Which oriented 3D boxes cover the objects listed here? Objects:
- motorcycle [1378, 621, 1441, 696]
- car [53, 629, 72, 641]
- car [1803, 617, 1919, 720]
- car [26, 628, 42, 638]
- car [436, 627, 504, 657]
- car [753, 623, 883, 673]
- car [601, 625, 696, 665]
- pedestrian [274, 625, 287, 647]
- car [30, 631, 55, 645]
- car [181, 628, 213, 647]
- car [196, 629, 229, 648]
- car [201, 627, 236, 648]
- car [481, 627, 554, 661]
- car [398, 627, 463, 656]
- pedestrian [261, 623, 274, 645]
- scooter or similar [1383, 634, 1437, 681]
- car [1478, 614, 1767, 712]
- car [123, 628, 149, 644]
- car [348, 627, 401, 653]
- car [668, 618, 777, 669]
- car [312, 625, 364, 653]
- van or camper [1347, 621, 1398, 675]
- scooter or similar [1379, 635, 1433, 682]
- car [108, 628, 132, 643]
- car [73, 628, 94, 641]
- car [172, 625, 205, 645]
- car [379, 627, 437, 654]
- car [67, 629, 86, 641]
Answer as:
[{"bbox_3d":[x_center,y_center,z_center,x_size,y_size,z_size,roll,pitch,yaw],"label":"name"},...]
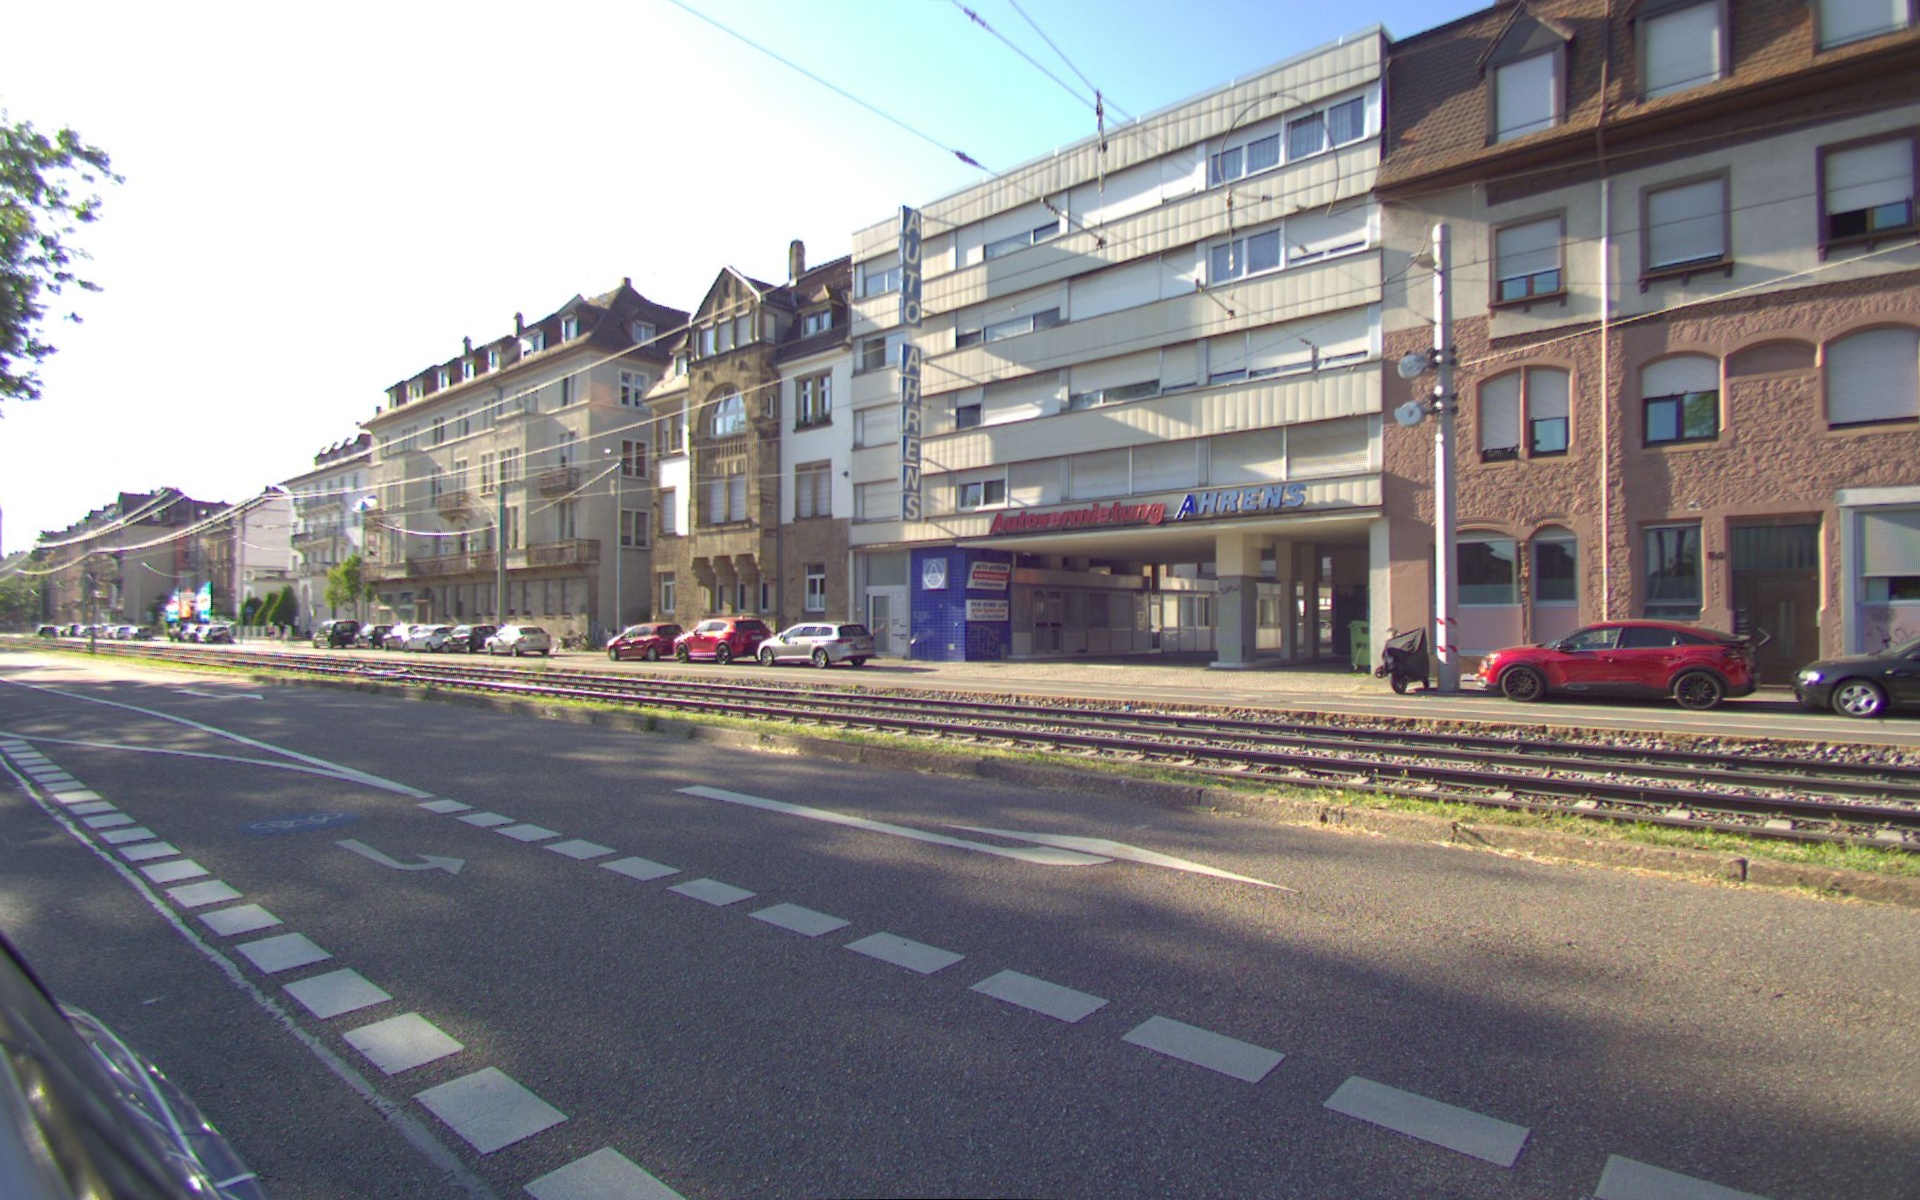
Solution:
[{"bbox_3d":[9.355,1.190,21.032,0.628,1.433,1.835,-3,-1,42],"label":"motorcycle"},{"bbox_3d":[-125.930,4.912,142.055,3.449,1.602,1.603,-1,-1,42],"label":"car"},{"bbox_3d":[15.285,1.016,15.242,3.926,1.448,1.678,-2,1,41],"label":"car"},{"bbox_3d":[-153.516,5.424,167.737,3.449,1.602,1.603,-1,-1,42],"label":"car"},{"bbox_3d":[-25.303,2.156,52.223,3.820,1.441,1.779,-2,-1,40],"label":"car"},{"bbox_3d":[-4.782,1.569,33.647,4.379,1.510,1.837,-2,0,41],"label":"car"},{"bbox_3d":[-12.542,1.797,40.683,3.722,1.507,1.736,-2,0,36],"label":"car"},{"bbox_3d":[-56.582,3.013,84.236,0.677,1.803,0.716,-2,-3,41],"label":"pedestrian"},{"bbox_3d":[-110.262,4.536,121.639,3.999,1.697,1.798,-2,-2,42],"label":"car"},{"bbox_3d":[-67.924,3.341,90.067,3.387,1.583,1.662,-1,-1,42],"label":"car"},{"bbox_3d":[-64.387,3.277,87.163,3.387,1.583,1.662,-1,-1,42],"label":"car"},{"bbox_3d":[-60.842,3.073,82.977,3.407,1.644,1.655,-2,-1,42],"label":"car"},{"bbox_3d":[-21.317,2.096,48.686,3.822,1.490,1.778,-2,-1,42],"label":"car"},{"bbox_3d":[-28.630,2.243,54.707,3.531,1.457,1.624,-2,-1,35],"label":"car"},{"bbox_3d":[-57.202,2.842,83.643,0.677,1.803,0.716,-2,-3,41],"label":"pedestrian"},{"bbox_3d":[10.637,1.351,23.939,1.121,1.077,0.202,-2,-1,42],"label":"scooter or similar"},{"bbox_3d":[12.019,1.077,18.514,4.208,1.510,1.837,-2,1,41],"label":"car"},{"bbox_3d":[-87.513,3.835,107.483,3.449,1.602,1.603,-1,-1,42],"label":"car"},{"bbox_3d":[-36.236,2.472,62.584,3.822,1.490,1.778,-2,-1,42],"label":"car"},{"bbox_3d":[-8.783,1.577,37.250,4.262,1.700,1.836,-2,0,43],"label":"car"},{"bbox_3d":[-40.528,2.513,65.896,3.914,1.750,1.851,-2,-1,42],"label":"car"},{"bbox_3d":[10.715,1.239,26.269,0.803,1.368,1.409,-2,-2,41],"label":"van or camper"},{"bbox_3d":[10.452,1.367,23.733,1.121,1.077,0.202,-2,-1,42],"label":"scooter or similar"},{"bbox_3d":[-94.398,3.973,113.678,3.449,1.602,1.603,-1,-1,42],"label":"car"},{"bbox_3d":[-116.229,4.594,134.182,3.449,1.602,1.603,-1,-1,42],"label":"car"},{"bbox_3d":[-71.930,3.272,94.337,3.879,1.800,1.705,-1,-1,42],"label":"car"},{"bbox_3d":[-31.923,2.329,58.470,3.822,1.490,1.778,-2,-1,42],"label":"car"},{"bbox_3d":[-119.979,4.700,137.412,3.449,1.602,1.603,-1,-1,42],"label":"car"}]
